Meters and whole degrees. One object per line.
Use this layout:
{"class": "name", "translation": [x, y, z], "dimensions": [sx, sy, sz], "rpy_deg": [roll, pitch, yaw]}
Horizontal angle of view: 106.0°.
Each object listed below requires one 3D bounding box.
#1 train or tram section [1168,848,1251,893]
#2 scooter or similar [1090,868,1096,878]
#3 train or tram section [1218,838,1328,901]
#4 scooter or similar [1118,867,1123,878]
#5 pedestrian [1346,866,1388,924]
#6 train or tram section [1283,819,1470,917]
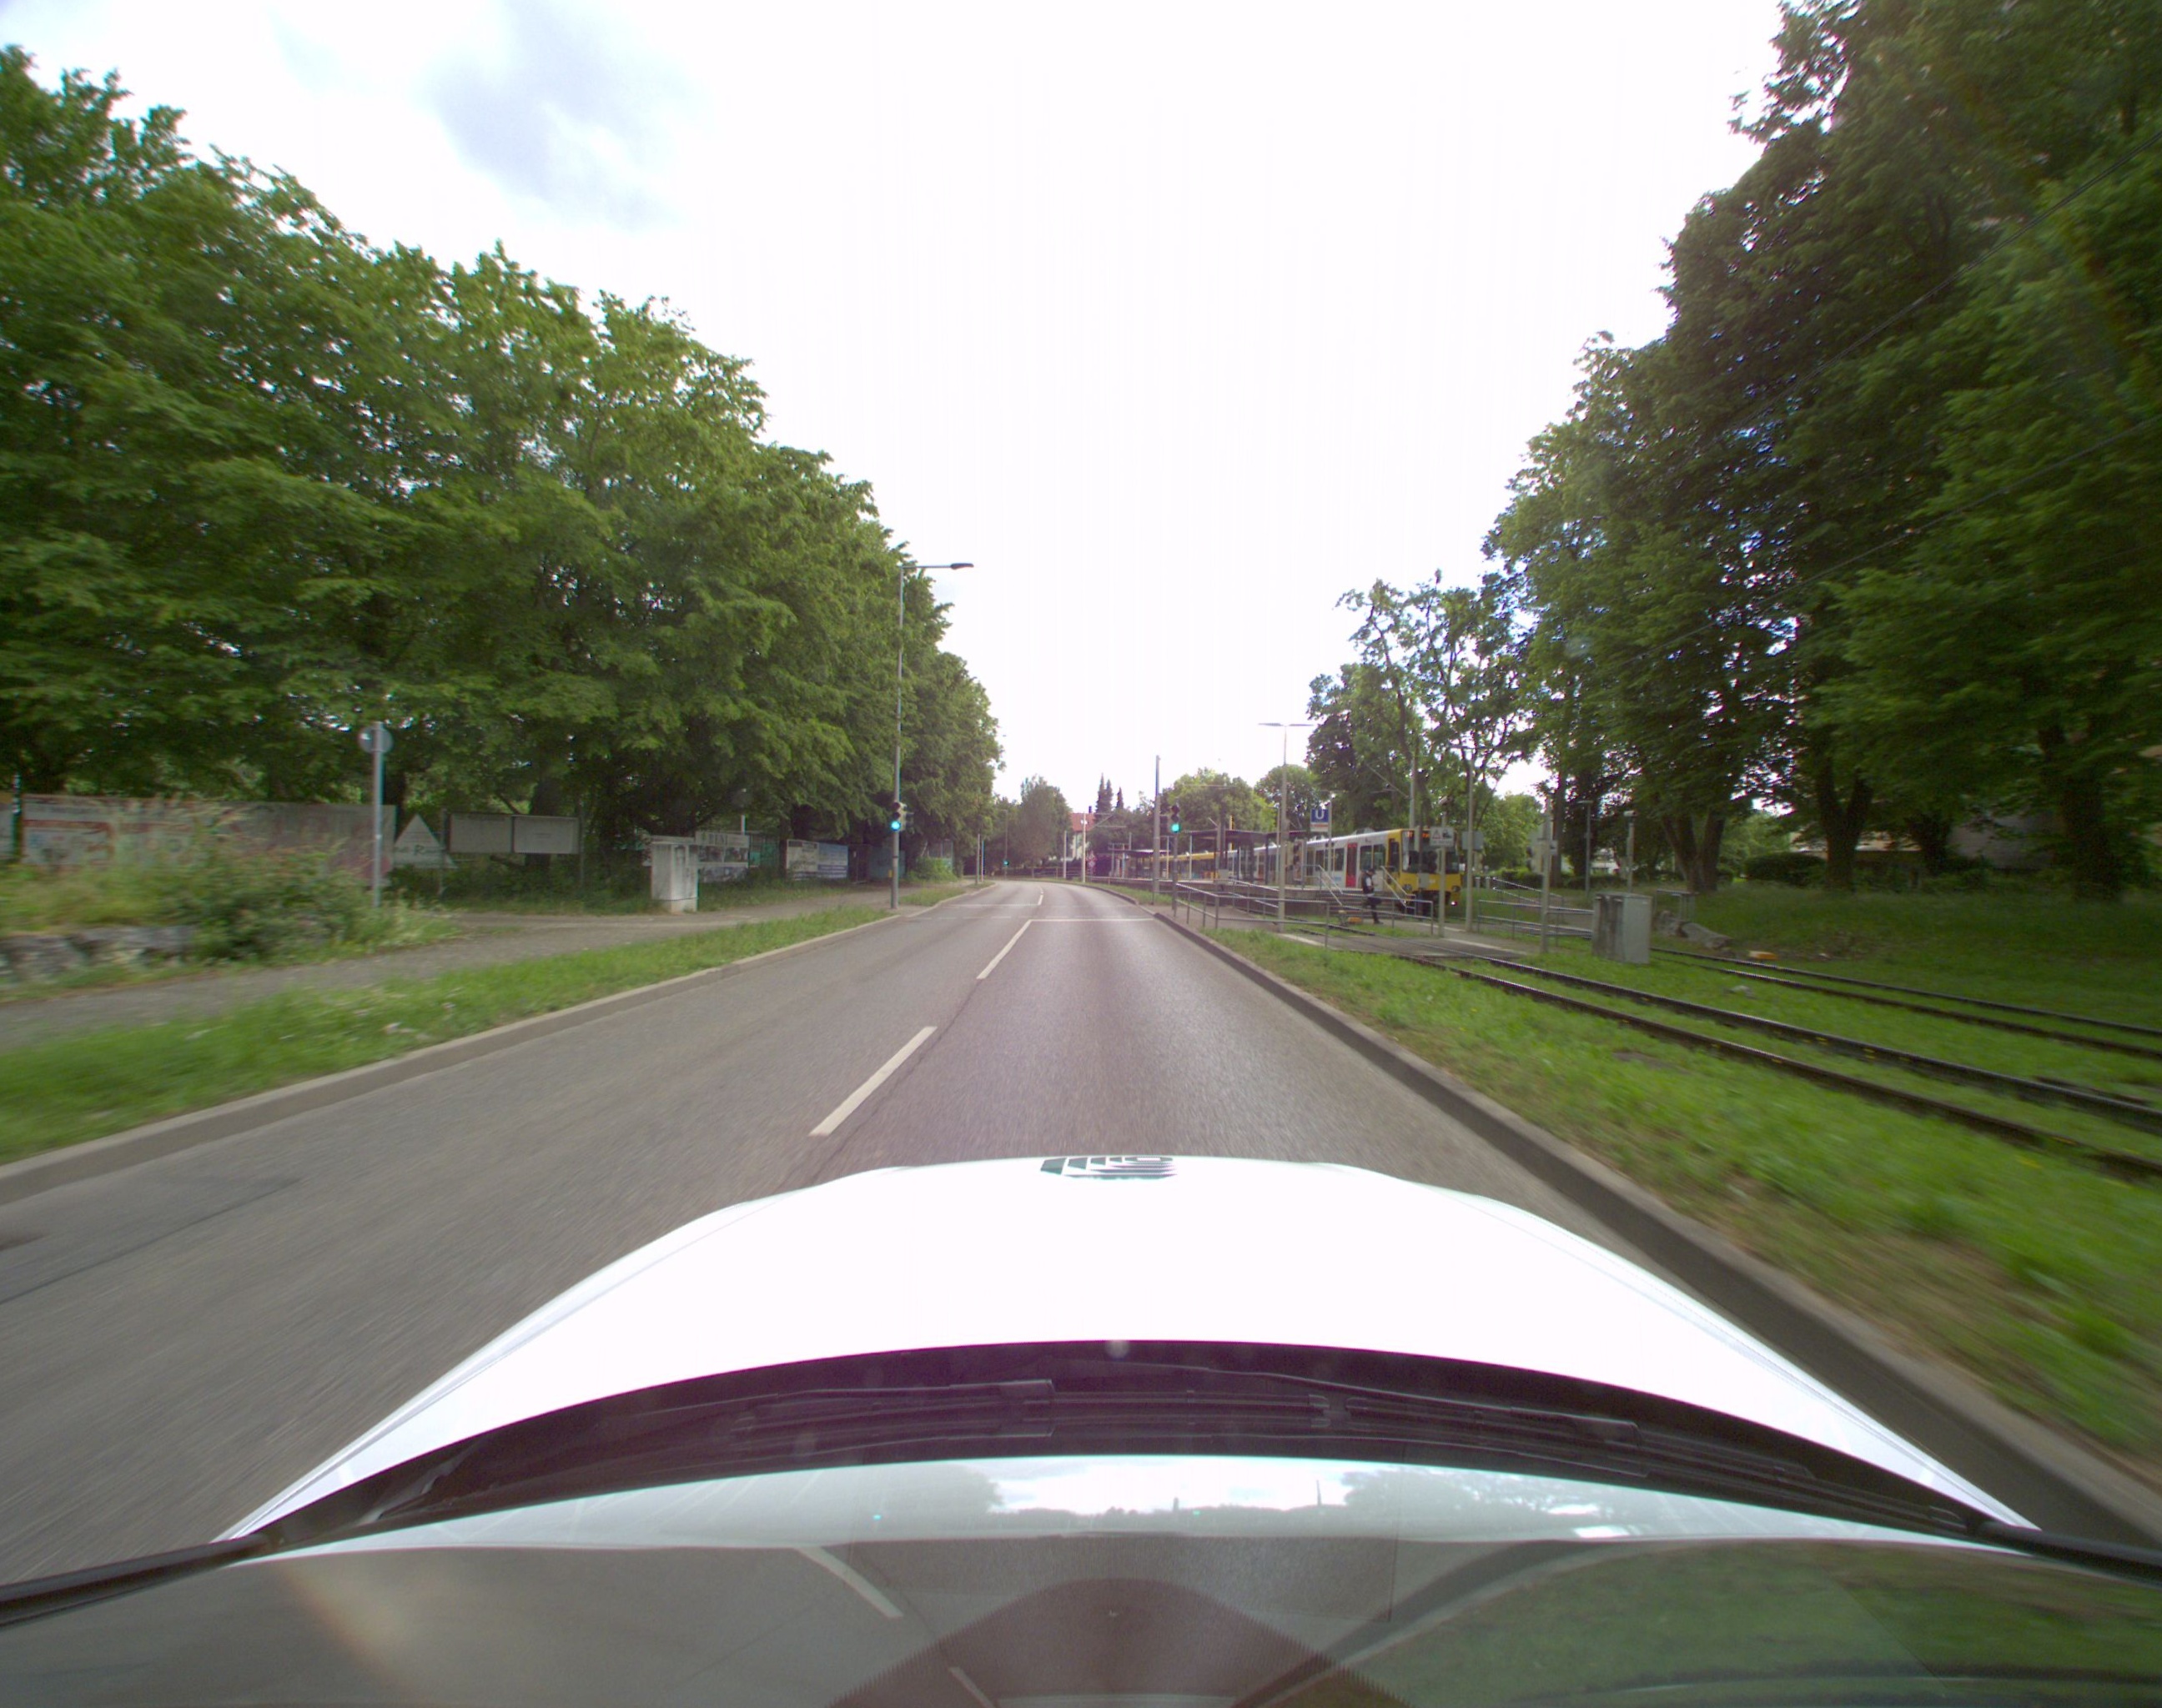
{"class": "train or tram section", "translation": [11.916, 1.564, 78.663], "dimensions": [2.810, 3.737, 19.467], "rpy_deg": [2, -1, -6]}
{"class": "scooter or similar", "translation": [1.563, 2.536, 106.369], "dimensions": [0.431, 1.253, 1.247], "rpy_deg": [0, -3, -16]}
{"class": "train or tram section", "translation": [13.493, 1.145, 59.901], "dimensions": [2.806, 3.799, 18.913], "rpy_deg": [2, -1, -2]}
{"class": "scooter or similar", "translation": [4.657, 2.187, 96.557], "dimensions": [0.368, 1.242, 1.143], "rpy_deg": [1, -1, -8]}
{"class": "pedestrian", "translation": [9.044, 1.283, 25.770], "dimensions": [0.984, 1.758, 0.727], "rpy_deg": [2, -1, -10]}
{"class": "train or tram section", "translation": [13.840, 0.743, 41.029], "dimensions": [2.804, 3.737, 18.530], "rpy_deg": [2, -1, 1]}
